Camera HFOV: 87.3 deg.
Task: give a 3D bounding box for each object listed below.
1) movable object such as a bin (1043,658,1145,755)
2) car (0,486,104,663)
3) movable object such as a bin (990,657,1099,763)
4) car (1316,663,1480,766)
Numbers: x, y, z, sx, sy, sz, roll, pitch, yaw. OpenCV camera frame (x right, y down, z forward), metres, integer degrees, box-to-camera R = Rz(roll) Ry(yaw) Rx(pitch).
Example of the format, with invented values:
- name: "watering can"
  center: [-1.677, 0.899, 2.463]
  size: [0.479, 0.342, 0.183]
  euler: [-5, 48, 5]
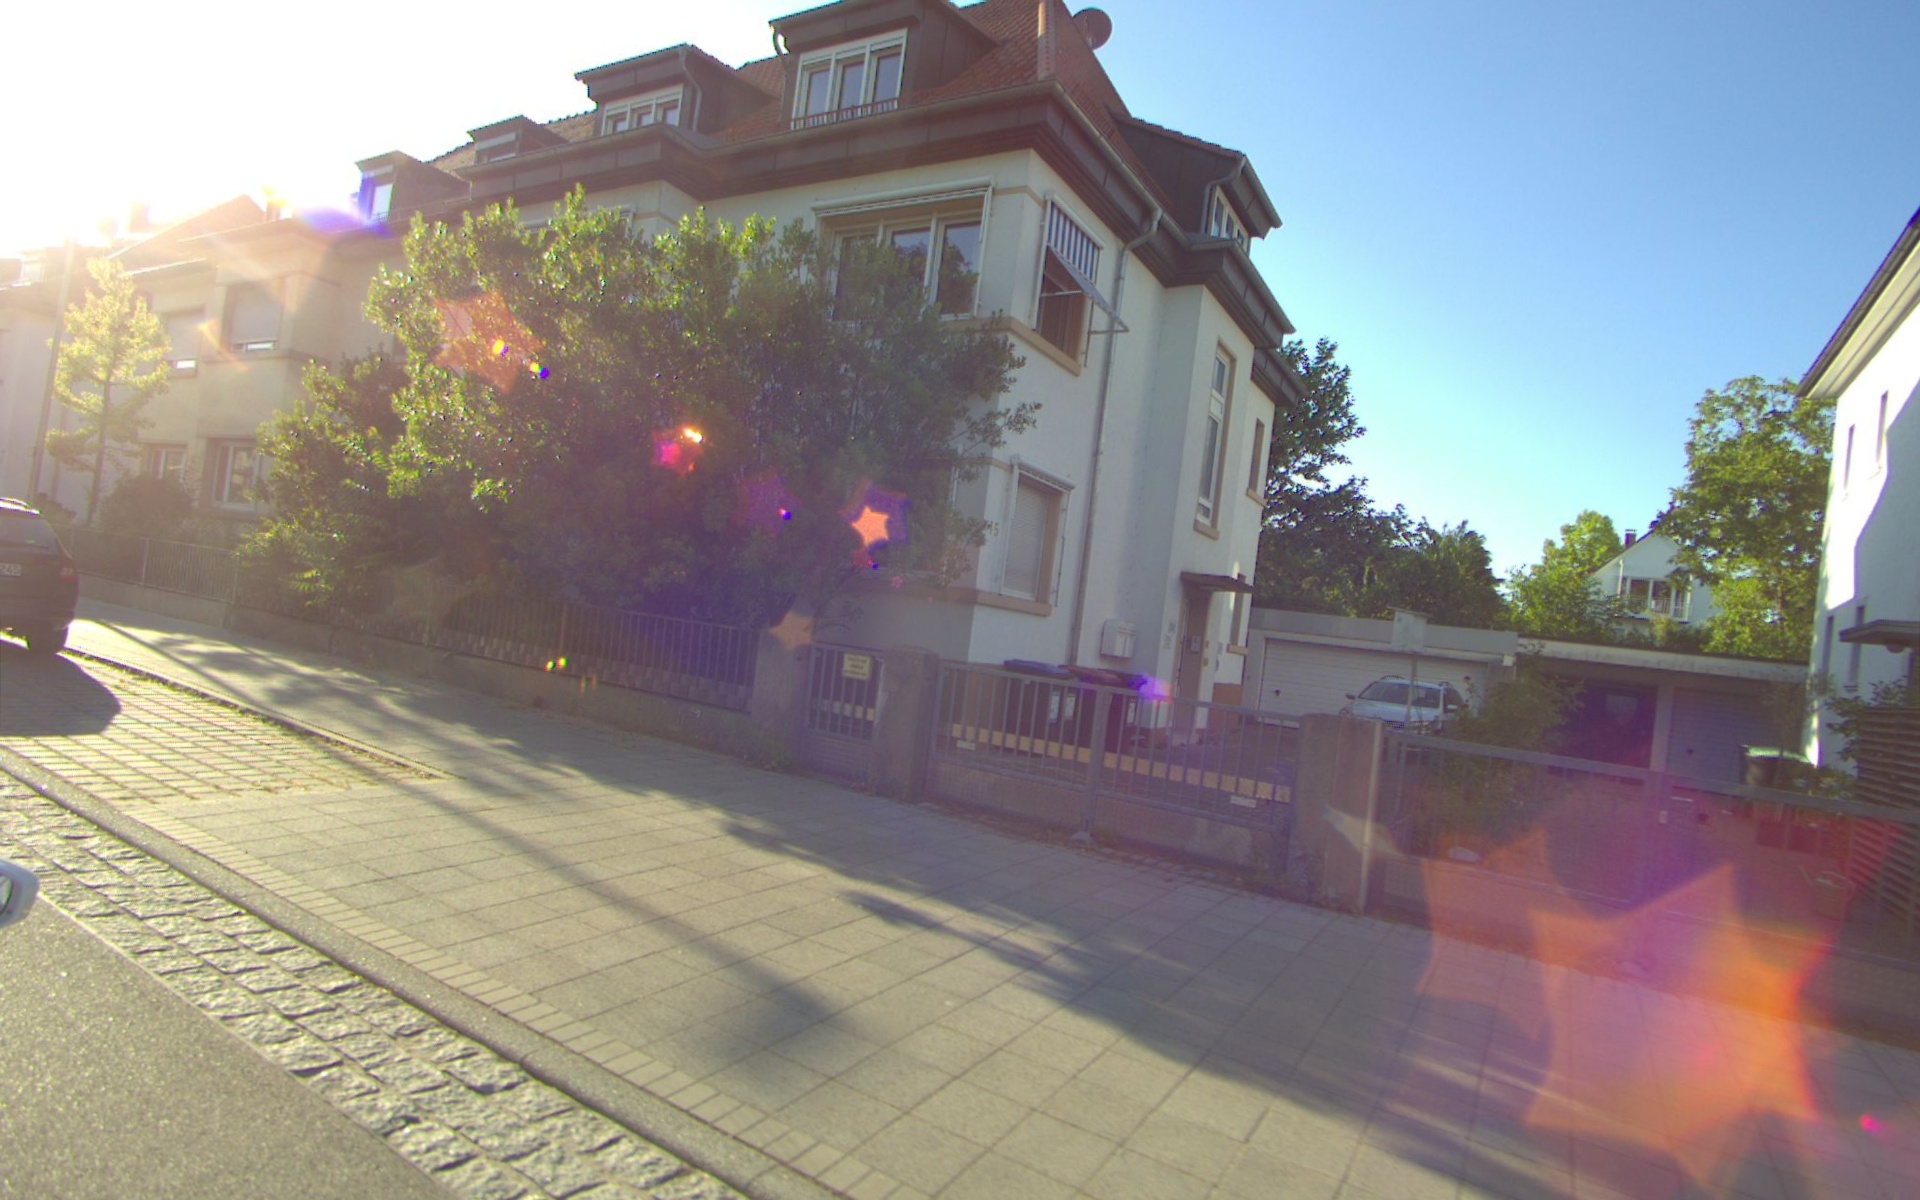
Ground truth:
- name: "movable object such as a bin"
  center: [1.745, 1.389, 13.001]
  size: [0.777, 1.112, 1.086]
  euler: [6, -3, 36]
- name: "car"
  center: [-10.550, -0.419, 10.198]
  size: [4.019, 1.613, 1.665]
  euler: [6, 1, 32]
- name: "movable object such as a bin"
  center: [1.009, 1.302, 11.899]
  size: [0.777, 1.112, 0.986]
  euler: [6, -3, 36]
- name: "car"
  center: [8.374, 2.153, 19.017]
  size: [1.845, 1.525, 4.148]
  euler: [6, -2, 37]
